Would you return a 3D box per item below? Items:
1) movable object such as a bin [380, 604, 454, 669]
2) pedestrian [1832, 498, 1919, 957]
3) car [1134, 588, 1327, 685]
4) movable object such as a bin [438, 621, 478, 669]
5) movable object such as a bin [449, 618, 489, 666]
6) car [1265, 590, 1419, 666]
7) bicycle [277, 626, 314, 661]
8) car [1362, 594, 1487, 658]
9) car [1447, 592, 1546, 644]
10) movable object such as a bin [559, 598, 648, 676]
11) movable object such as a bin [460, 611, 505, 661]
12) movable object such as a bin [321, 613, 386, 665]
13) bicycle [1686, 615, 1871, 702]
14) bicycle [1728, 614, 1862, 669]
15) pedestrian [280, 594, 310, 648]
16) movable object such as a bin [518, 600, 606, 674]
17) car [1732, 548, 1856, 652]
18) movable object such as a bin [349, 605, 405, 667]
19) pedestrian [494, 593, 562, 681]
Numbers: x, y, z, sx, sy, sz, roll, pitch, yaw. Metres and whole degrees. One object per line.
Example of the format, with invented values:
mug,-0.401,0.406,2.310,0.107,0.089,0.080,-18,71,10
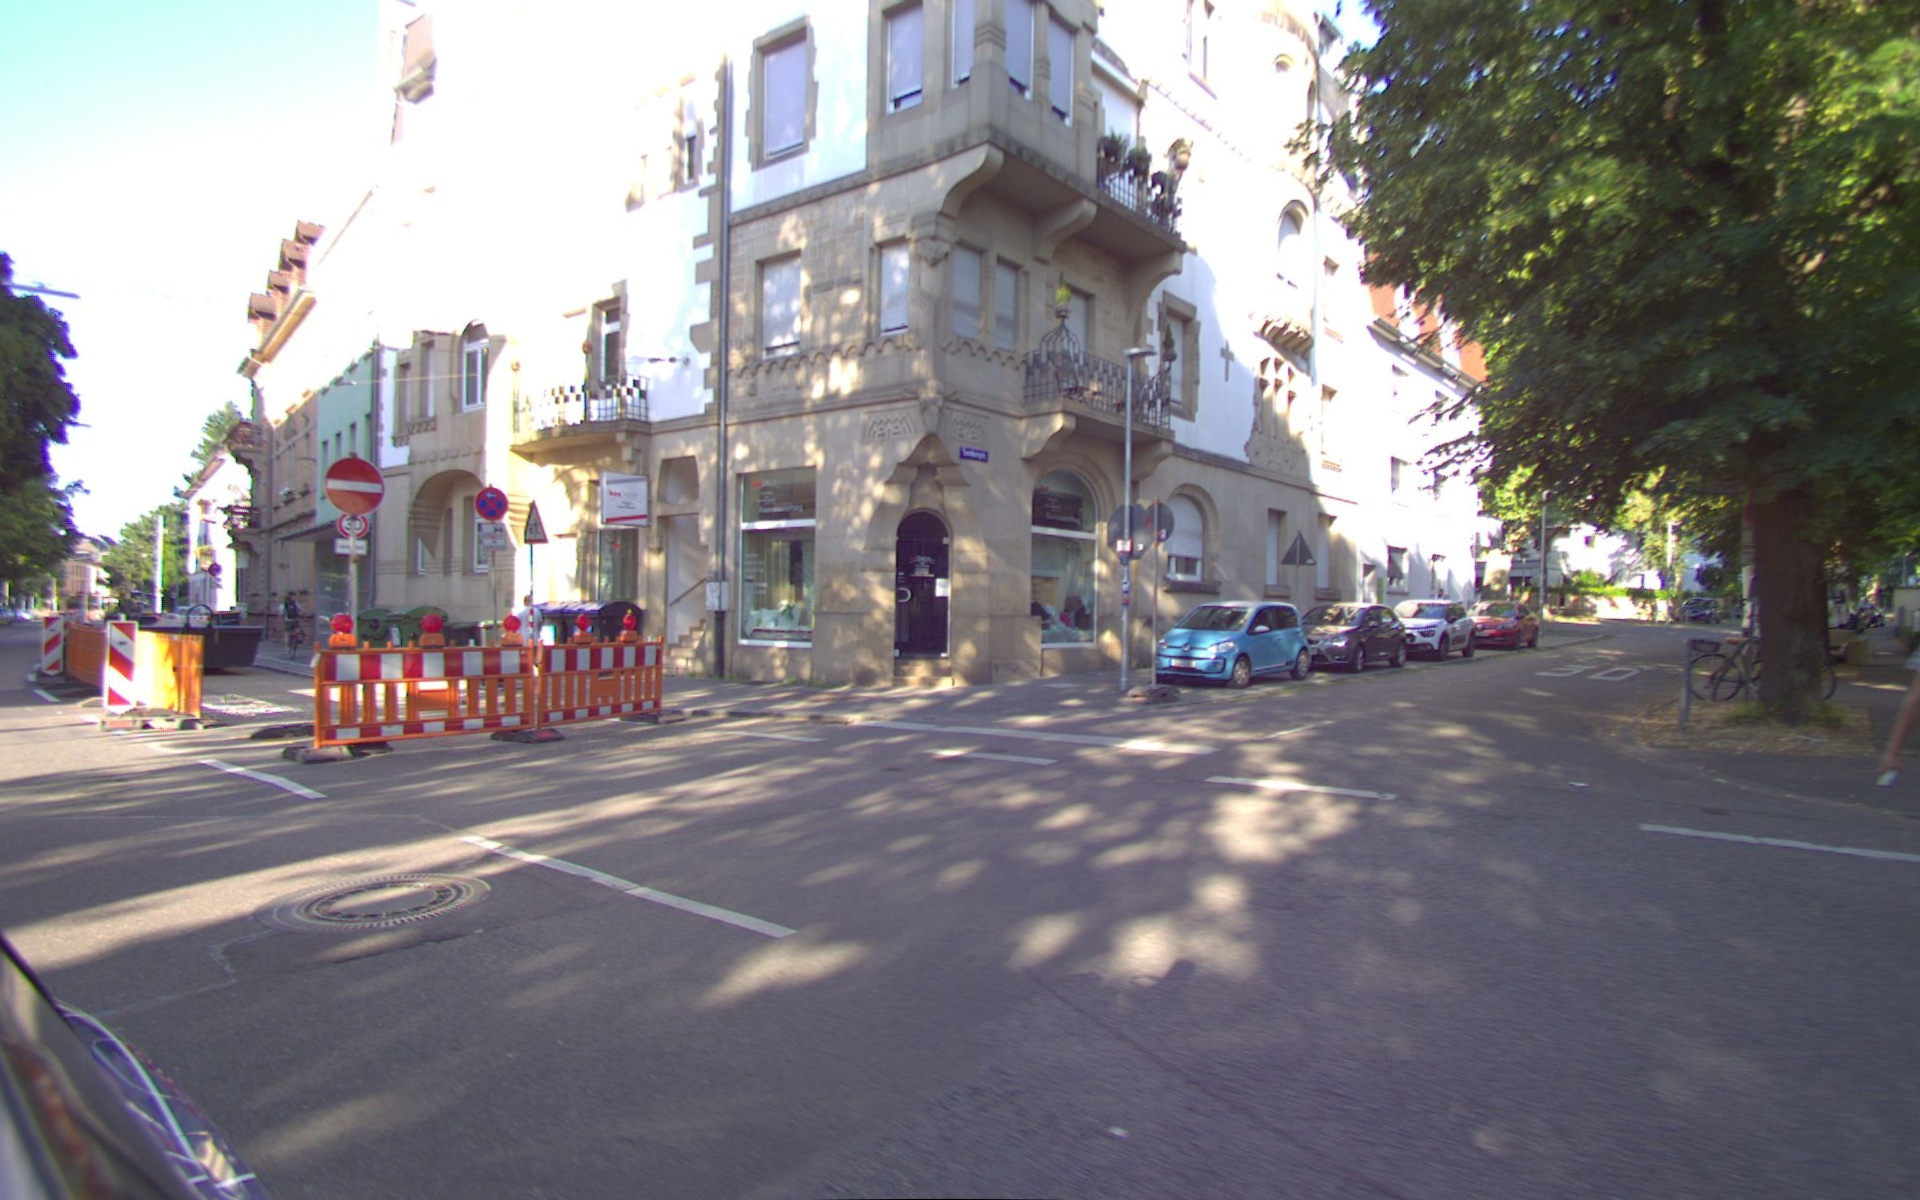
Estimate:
movable object such as a bin,-12.873,0.844,23.989,1.406,1.442,1.071,0,1,40
pedestrian,4.353,0.500,4.073,1.031,1.794,1.192,0,0,-44
car,5.068,0.599,18.625,1.998,1.564,3.947,0,0,39
movable object such as a bin,-11.497,1.012,23.199,0.587,1.049,0.630,0,1,39
movable object such as a bin,-11.076,0.943,22.825,0.555,1.031,0.630,0,1,39
car,8.362,0.557,21.968,1.998,1.497,3.947,0,0,39
bicycle,-19.577,1.266,29.800,1.474,0.939,0.593,1,1,45
car,11.963,0.622,25.962,1.998,1.497,3.947,0,0,39
car,16.684,0.531,31.379,1.998,1.497,3.947,0,0,39
movable object such as a bin,-7.035,0.695,19.977,1.342,1.442,1.073,0,1,35
movable object such as a bin,-10.553,0.782,22.381,0.763,1.049,0.630,0,1,40
movable object such as a bin,-15.756,0.987,26.292,1.334,1.273,1.071,1,1,41
bicycle,11.530,0.781,14.313,0.736,1.085,1.937,-1,1,-40
bicycle,17.197,0.828,20.894,0.913,1.017,1.939,-1,1,-32
pedestrian,-19.595,0.605,29.814,0.616,1.567,0.591,1,1,44
movable object such as a bin,-8.186,0.733,20.824,1.404,1.442,1.073,0,1,35
car,22.970,0.021,27.956,2.456,2.584,5.183,0,0,39
movable object such as a bin,-14.535,0.863,25.215,1.068,1.442,1.411,-1,1,-35
pedestrian,-8.231,0.686,19.286,0.914,1.615,0.814,0,1,31
